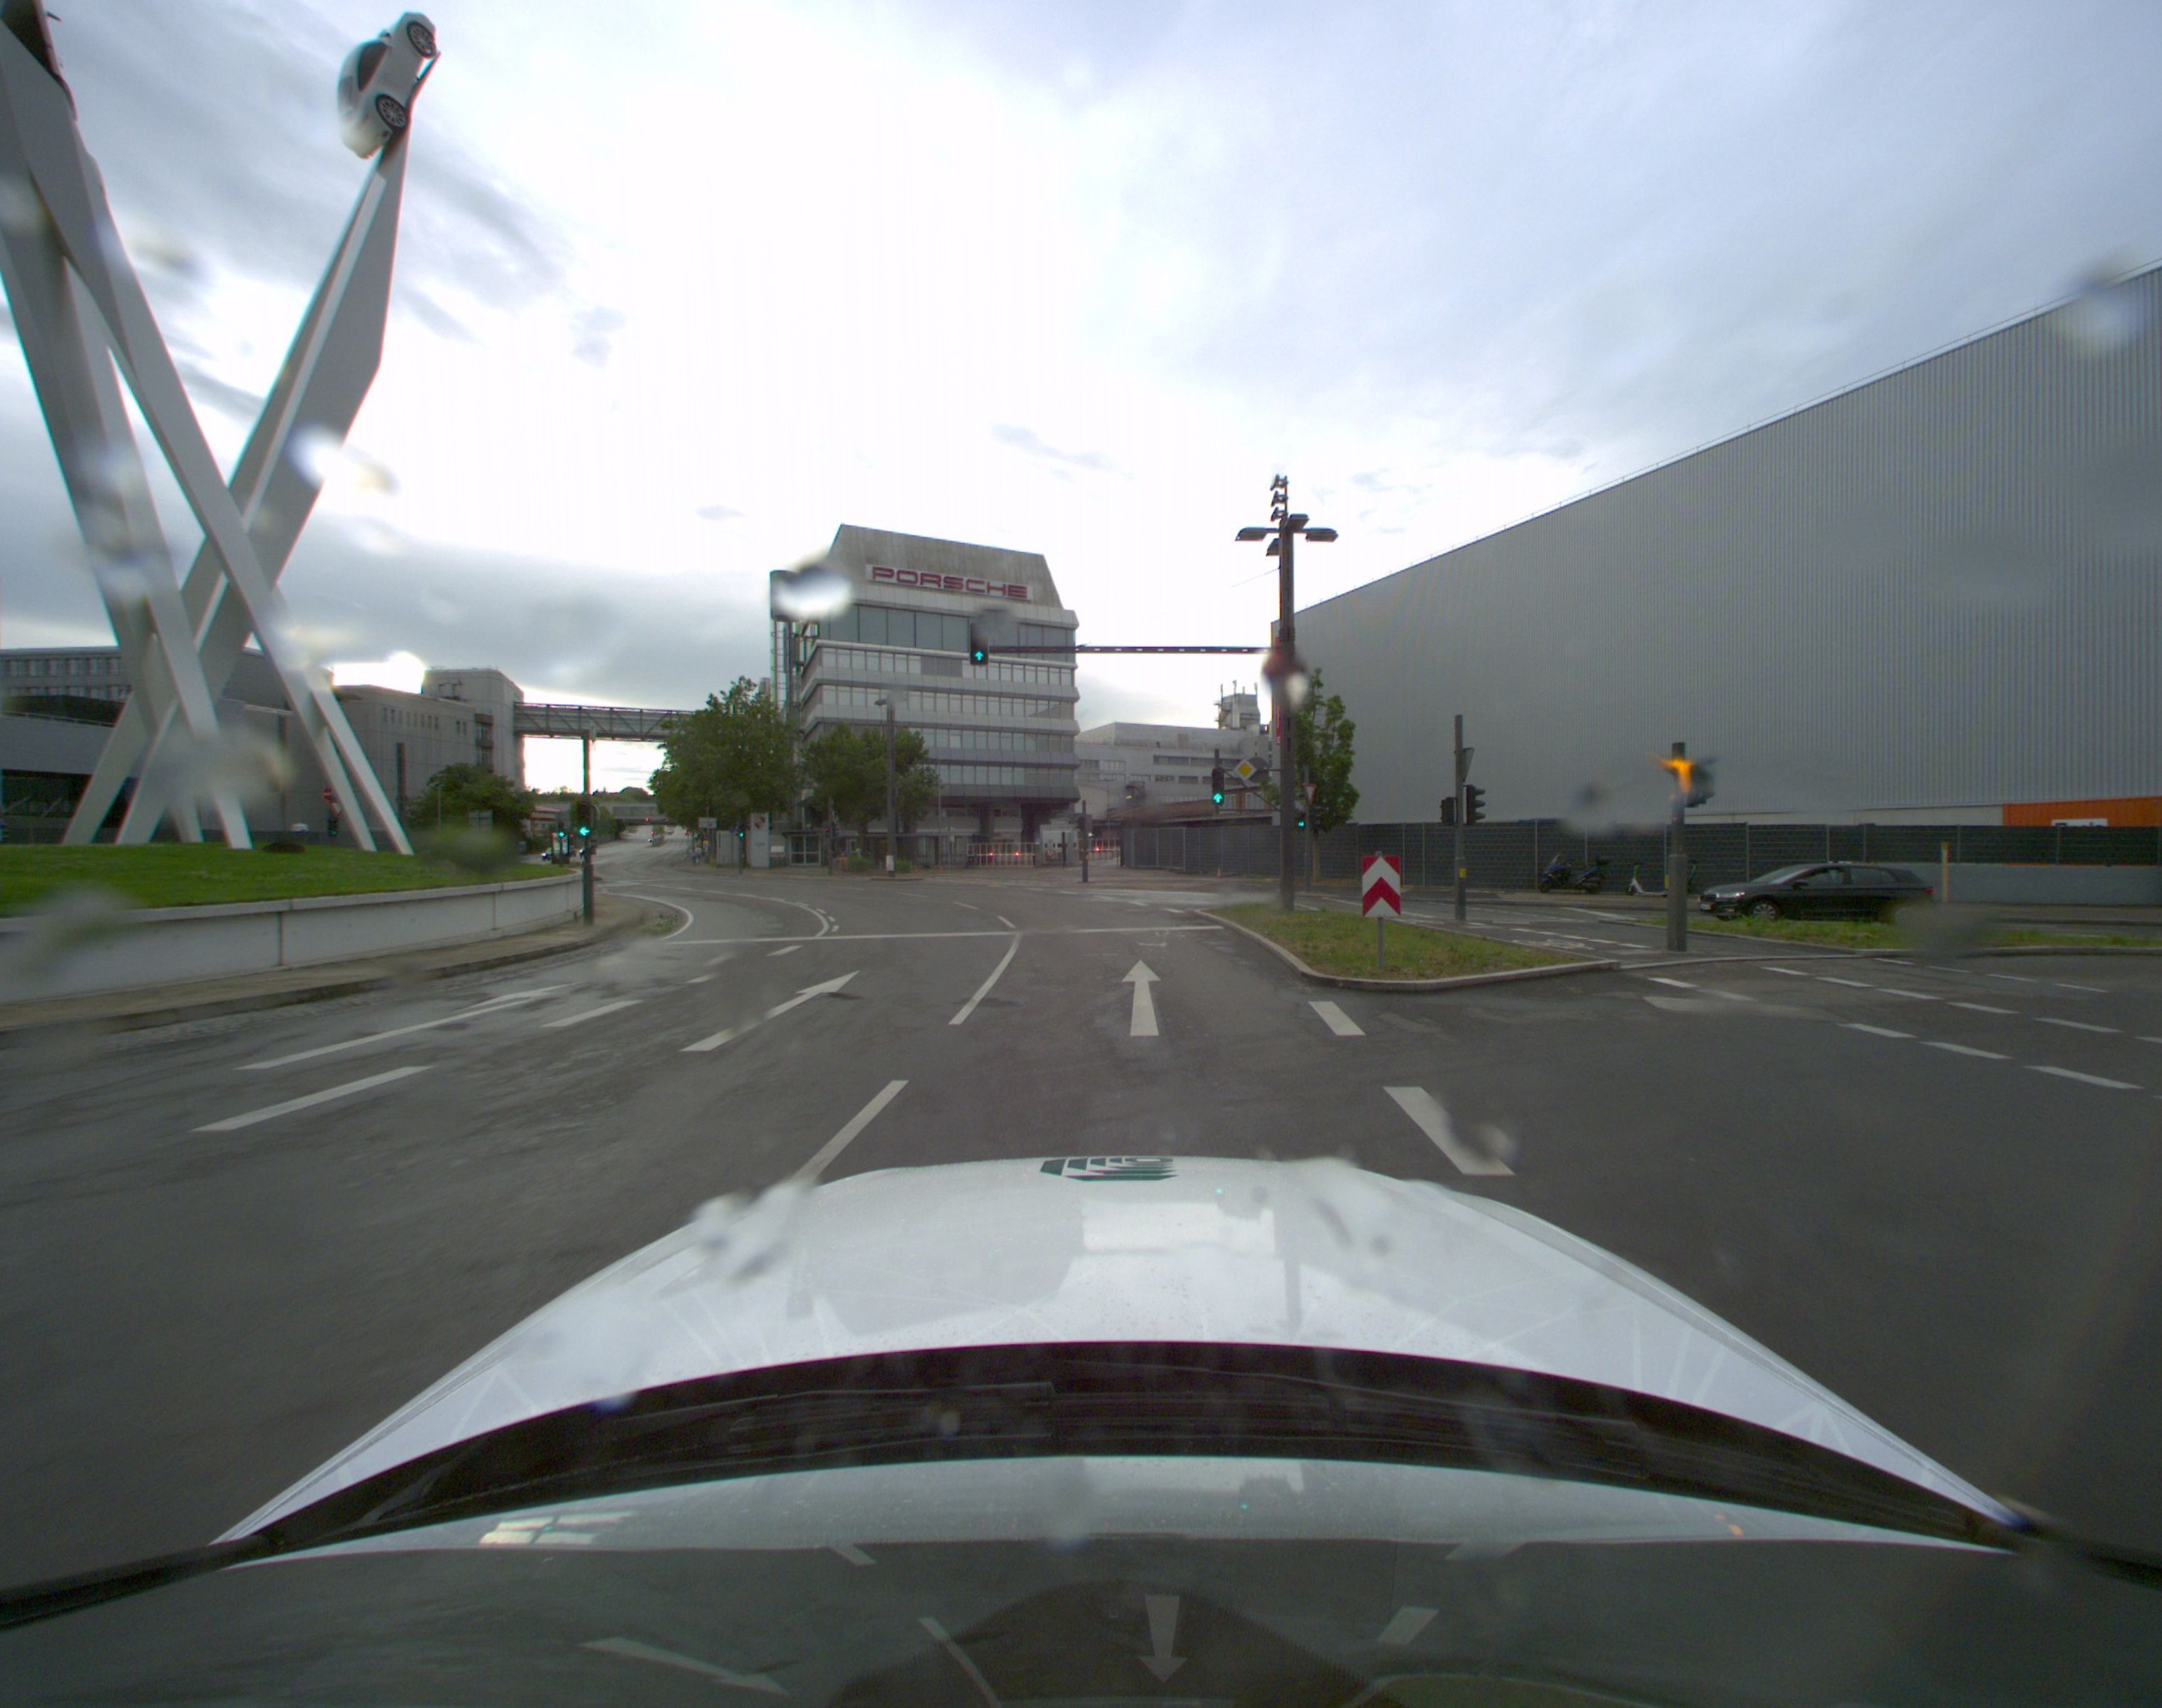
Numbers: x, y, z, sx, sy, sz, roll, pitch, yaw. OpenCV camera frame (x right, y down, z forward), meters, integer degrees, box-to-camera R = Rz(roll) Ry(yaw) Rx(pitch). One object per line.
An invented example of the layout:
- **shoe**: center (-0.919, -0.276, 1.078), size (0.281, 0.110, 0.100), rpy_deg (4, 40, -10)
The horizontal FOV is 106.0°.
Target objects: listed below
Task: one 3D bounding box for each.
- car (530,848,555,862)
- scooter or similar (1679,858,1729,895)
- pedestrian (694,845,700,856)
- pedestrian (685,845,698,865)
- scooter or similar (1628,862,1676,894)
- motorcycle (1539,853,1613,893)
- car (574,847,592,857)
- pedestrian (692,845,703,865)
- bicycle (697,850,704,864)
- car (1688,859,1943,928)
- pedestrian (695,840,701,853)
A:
- **car**: center (-61.436, 0.089, 93.015), size (1.792, 1.440, 4.359), rpy_deg (-1, 1, -26)
- **scooter or similar**: center (20.815, 0.747, 27.235), size (1.254, 1.199, 0.427), rpy_deg (1, 0, 28)
- **pedestrian**: center (-66.278, -0.593, 140.472), size (0.764, 2.014, 0.690), rpy_deg (-1, -1, -9)
- **pedestrian**: center (-30.530, 0.092, 63.812), size (0.834, 1.520, 0.836), rpy_deg (-1, 1, -20)
- **scooter or similar**: center (19.242, 0.795, 27.455), size (0.388, 1.029, 1.255), rpy_deg (0, 1, -43)
- **motorcycle**: center (16.954, 0.650, 27.941), size (2.079, 1.310, 0.658), rpy_deg (1, 0, 13)
- **car**: center (-76.956, -0.371, 125.800), size (1.792, 1.385, 4.508), rpy_deg (-3, 2, -25)
- **pedestrian**: center (-30.976, 0.078, 65.737), size (0.712, 1.592, 0.835), rpy_deg (-1, 1, -21)
- **bicycle**: center (-32.009, 0.246, 68.462), size (0.343, 1.118, 1.953), rpy_deg (-1, 1, -31)
- **car**: center (16.440, 0.831, 18.478), size (3.956, 1.425, 1.728), rpy_deg (0, 0, 16)
- **pedestrian**: center (-51.667, -1.047, 109.786), size (0.715, 1.740, 0.753), rpy_deg (1, -2, -26)
